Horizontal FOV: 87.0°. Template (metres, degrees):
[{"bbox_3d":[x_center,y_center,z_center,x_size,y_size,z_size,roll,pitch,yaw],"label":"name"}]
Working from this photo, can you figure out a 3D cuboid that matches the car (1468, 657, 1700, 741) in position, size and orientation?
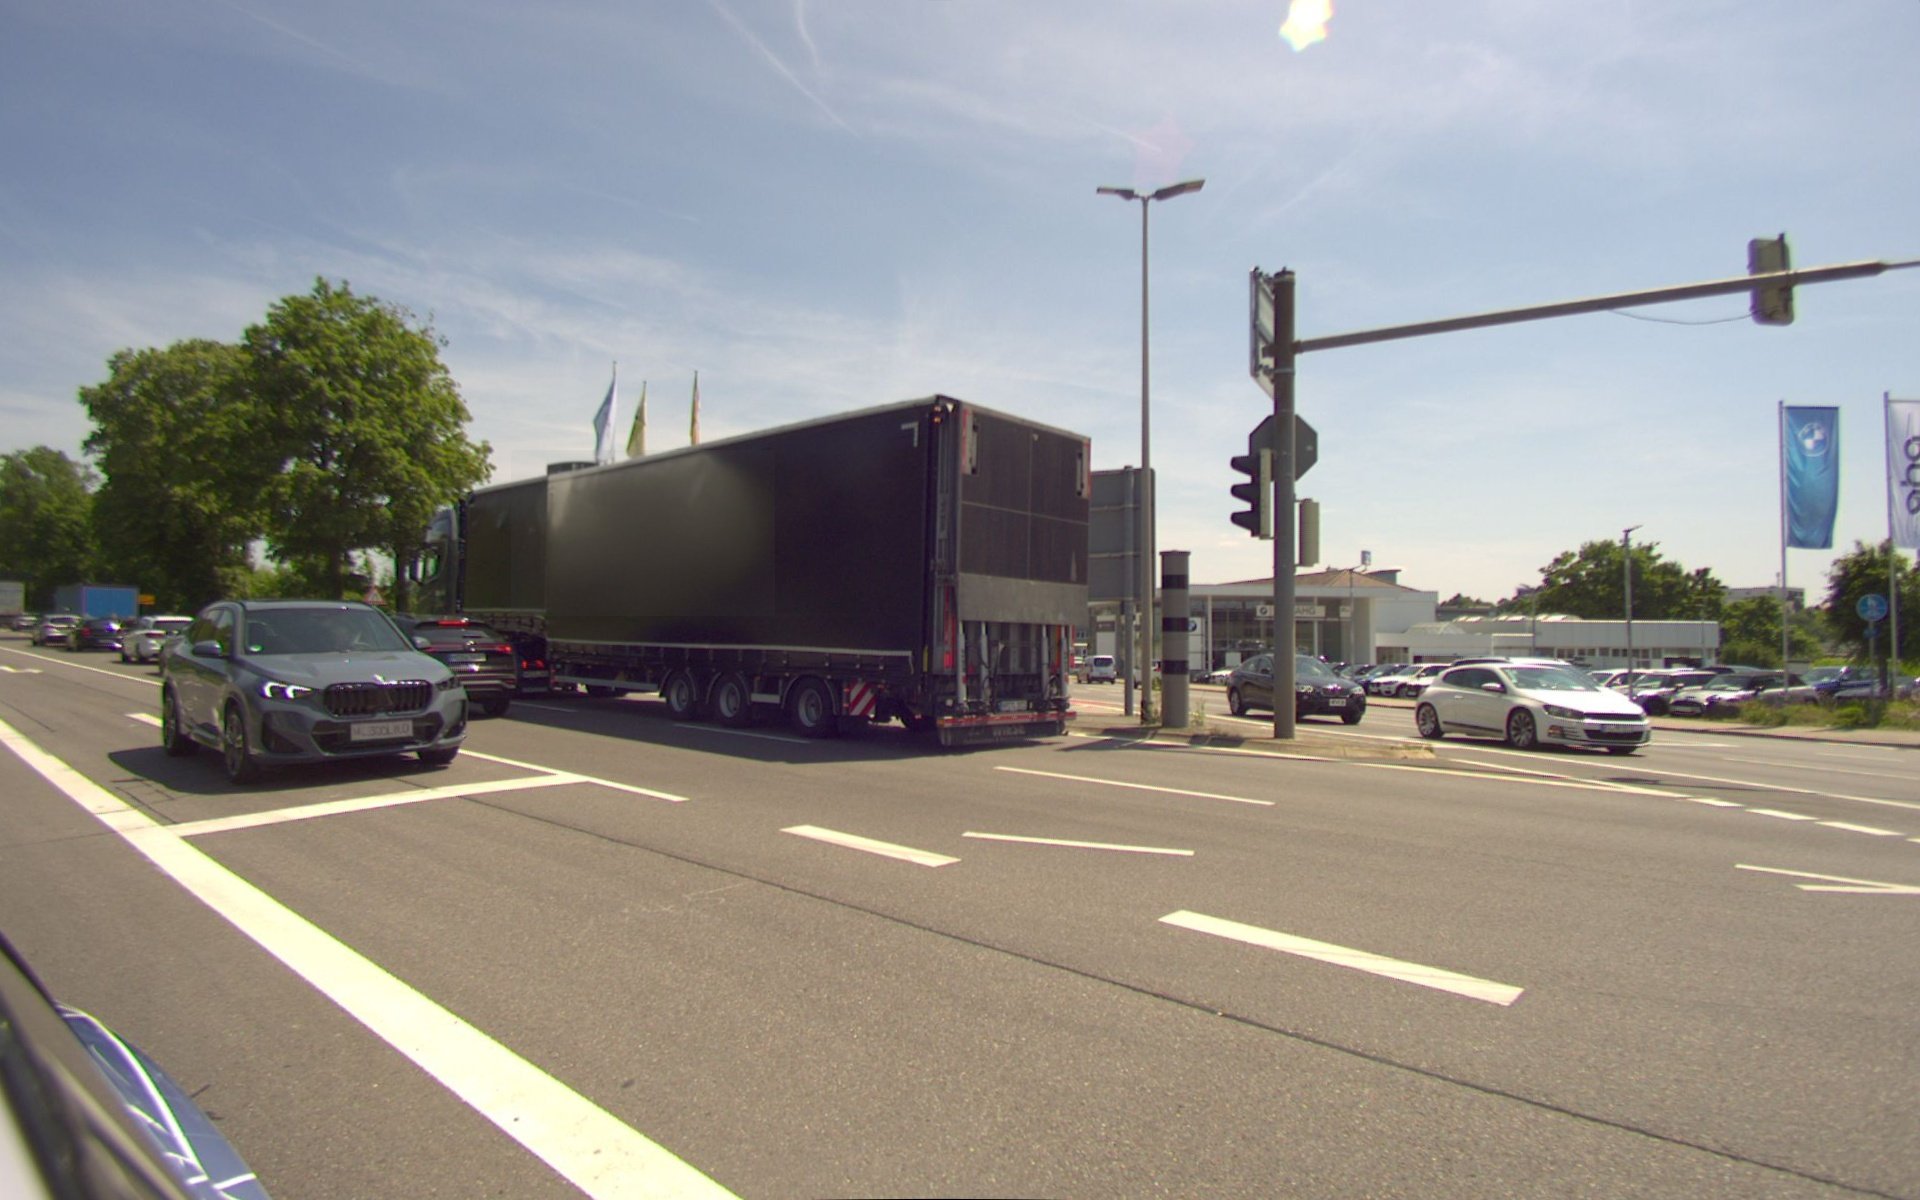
[{"bbox_3d":[12.394,1.920,20.454,1.894,1.432,4.005,1,-3,-6],"label":"car"}]

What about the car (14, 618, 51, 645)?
[{"bbox_3d":[-72.950,2.484,79.580,1.970,2.029,4.003,3,-3,-44],"label":"car"}]

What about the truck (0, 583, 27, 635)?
[{"bbox_3d":[-86.583,0.789,91.218,3.484,4.556,7.208,-1,0,-44],"label":"truck"}]

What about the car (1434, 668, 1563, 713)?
[{"bbox_3d":[20.455,3.449,38.521,3.934,1.586,2.005,1,-3,-12],"label":"car"}]

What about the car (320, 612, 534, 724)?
[{"bbox_3d":[-8.268,0.984,15.550,3.956,1.509,1.665,-1,-4,44],"label":"car"}]

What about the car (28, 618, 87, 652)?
[{"bbox_3d":[-42.877,1.642,48.048,3.956,1.509,1.665,-1,-4,44],"label":"car"}]

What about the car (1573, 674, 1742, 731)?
[{"bbox_3d":[20.941,3.068,30.452,3.934,1.586,2.005,1,-3,-12],"label":"car"}]

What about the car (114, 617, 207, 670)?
[{"bbox_3d":[-25.215,1.351,31.885,3.956,1.509,1.665,-1,-4,44],"label":"car"}]

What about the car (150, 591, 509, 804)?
[{"bbox_3d":[-6.354,0.770,9.970,4.510,1.622,1.902,-1,-1,43],"label":"car"}]

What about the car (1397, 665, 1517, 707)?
[{"bbox_3d":[20.029,3.454,40.837,3.934,1.586,2.005,1,-3,-12],"label":"car"}]

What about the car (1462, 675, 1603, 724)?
[{"bbox_3d":[20.001,3.455,35.413,3.934,1.586,2.005,1,-3,-12],"label":"car"}]

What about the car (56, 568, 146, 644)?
[{"bbox_3d":[-50.312,0.451,59.200,3.304,4.111,7.697,3,-4,-45],"label":"car"}]

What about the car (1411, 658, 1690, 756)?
[{"bbox_3d":[9.381,1.659,16.533,1.894,1.324,4.005,1,-2,-6],"label":"car"}]

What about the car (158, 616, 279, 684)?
[{"bbox_3d":[-18.301,1.204,24.930,3.821,1.509,1.665,-1,-4,44],"label":"car"}]

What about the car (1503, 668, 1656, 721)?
[{"bbox_3d":[20.183,3.077,33.032,3.934,1.586,2.005,1,-3,-12],"label":"car"}]

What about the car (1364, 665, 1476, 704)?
[{"bbox_3d":[19.665,3.613,43.366,3.934,1.586,2.005,1,-3,-12],"label":"car"}]

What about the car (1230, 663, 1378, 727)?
[{"bbox_3d":[8.244,2.250,24.667,1.894,1.324,4.005,1,-2,-6],"label":"car"}]

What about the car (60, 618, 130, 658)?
[{"bbox_3d":[-35.048,1.526,40.973,3.956,1.509,1.665,-1,-4,44],"label":"car"}]

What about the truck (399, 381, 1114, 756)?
[{"bbox_3d":[-5.236,-0.183,17.659,17.090,3.985,2.812,-1,-4,44],"label":"truck"}]
